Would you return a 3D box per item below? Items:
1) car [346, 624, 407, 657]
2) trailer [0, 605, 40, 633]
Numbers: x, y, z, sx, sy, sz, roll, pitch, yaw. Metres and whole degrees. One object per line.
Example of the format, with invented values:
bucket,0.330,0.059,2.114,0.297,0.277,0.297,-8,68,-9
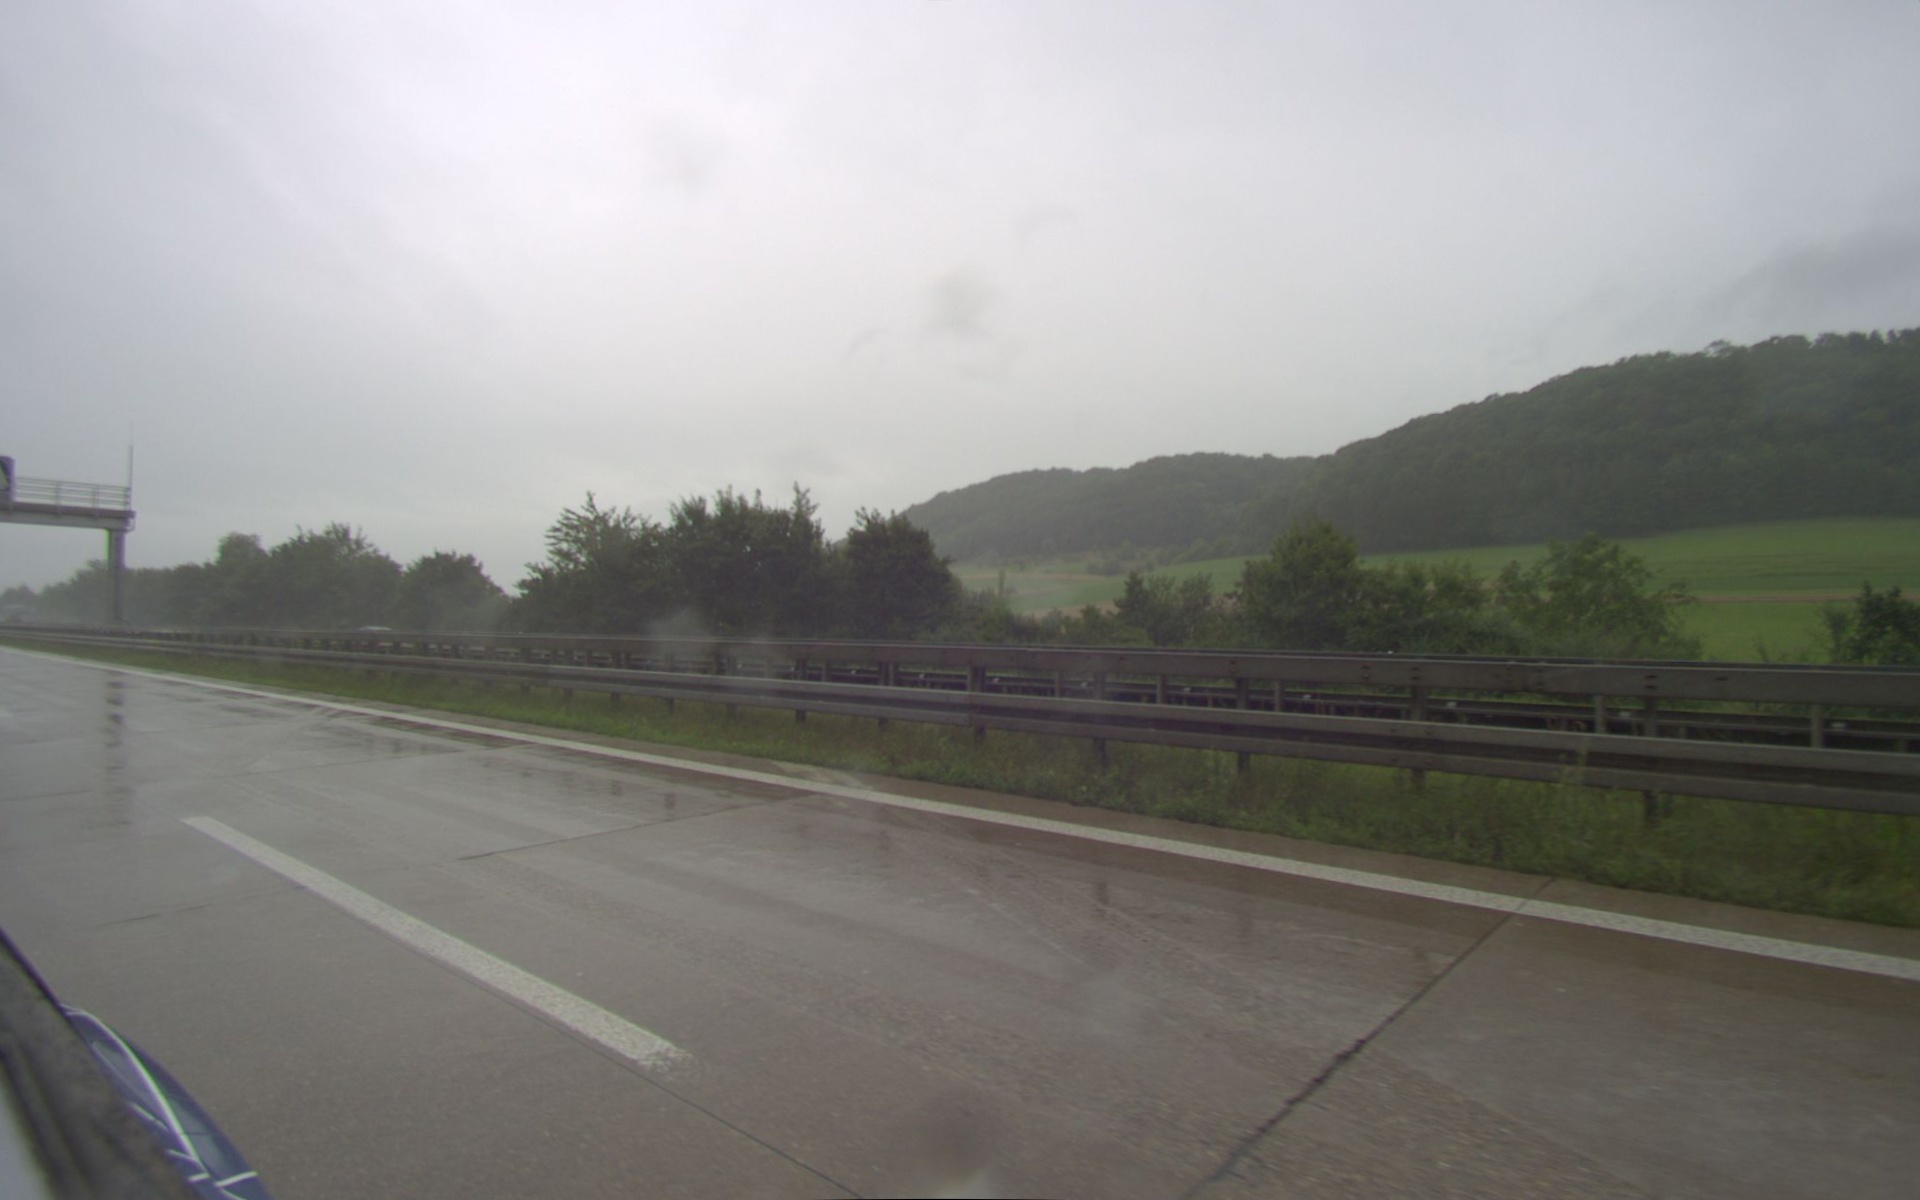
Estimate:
car,-34.108,2.314,59.122,3.998,1.796,1.973,-1,0,41
trailer,-145.212,2.971,156.201,11.394,4.205,3.320,-1,-1,41
